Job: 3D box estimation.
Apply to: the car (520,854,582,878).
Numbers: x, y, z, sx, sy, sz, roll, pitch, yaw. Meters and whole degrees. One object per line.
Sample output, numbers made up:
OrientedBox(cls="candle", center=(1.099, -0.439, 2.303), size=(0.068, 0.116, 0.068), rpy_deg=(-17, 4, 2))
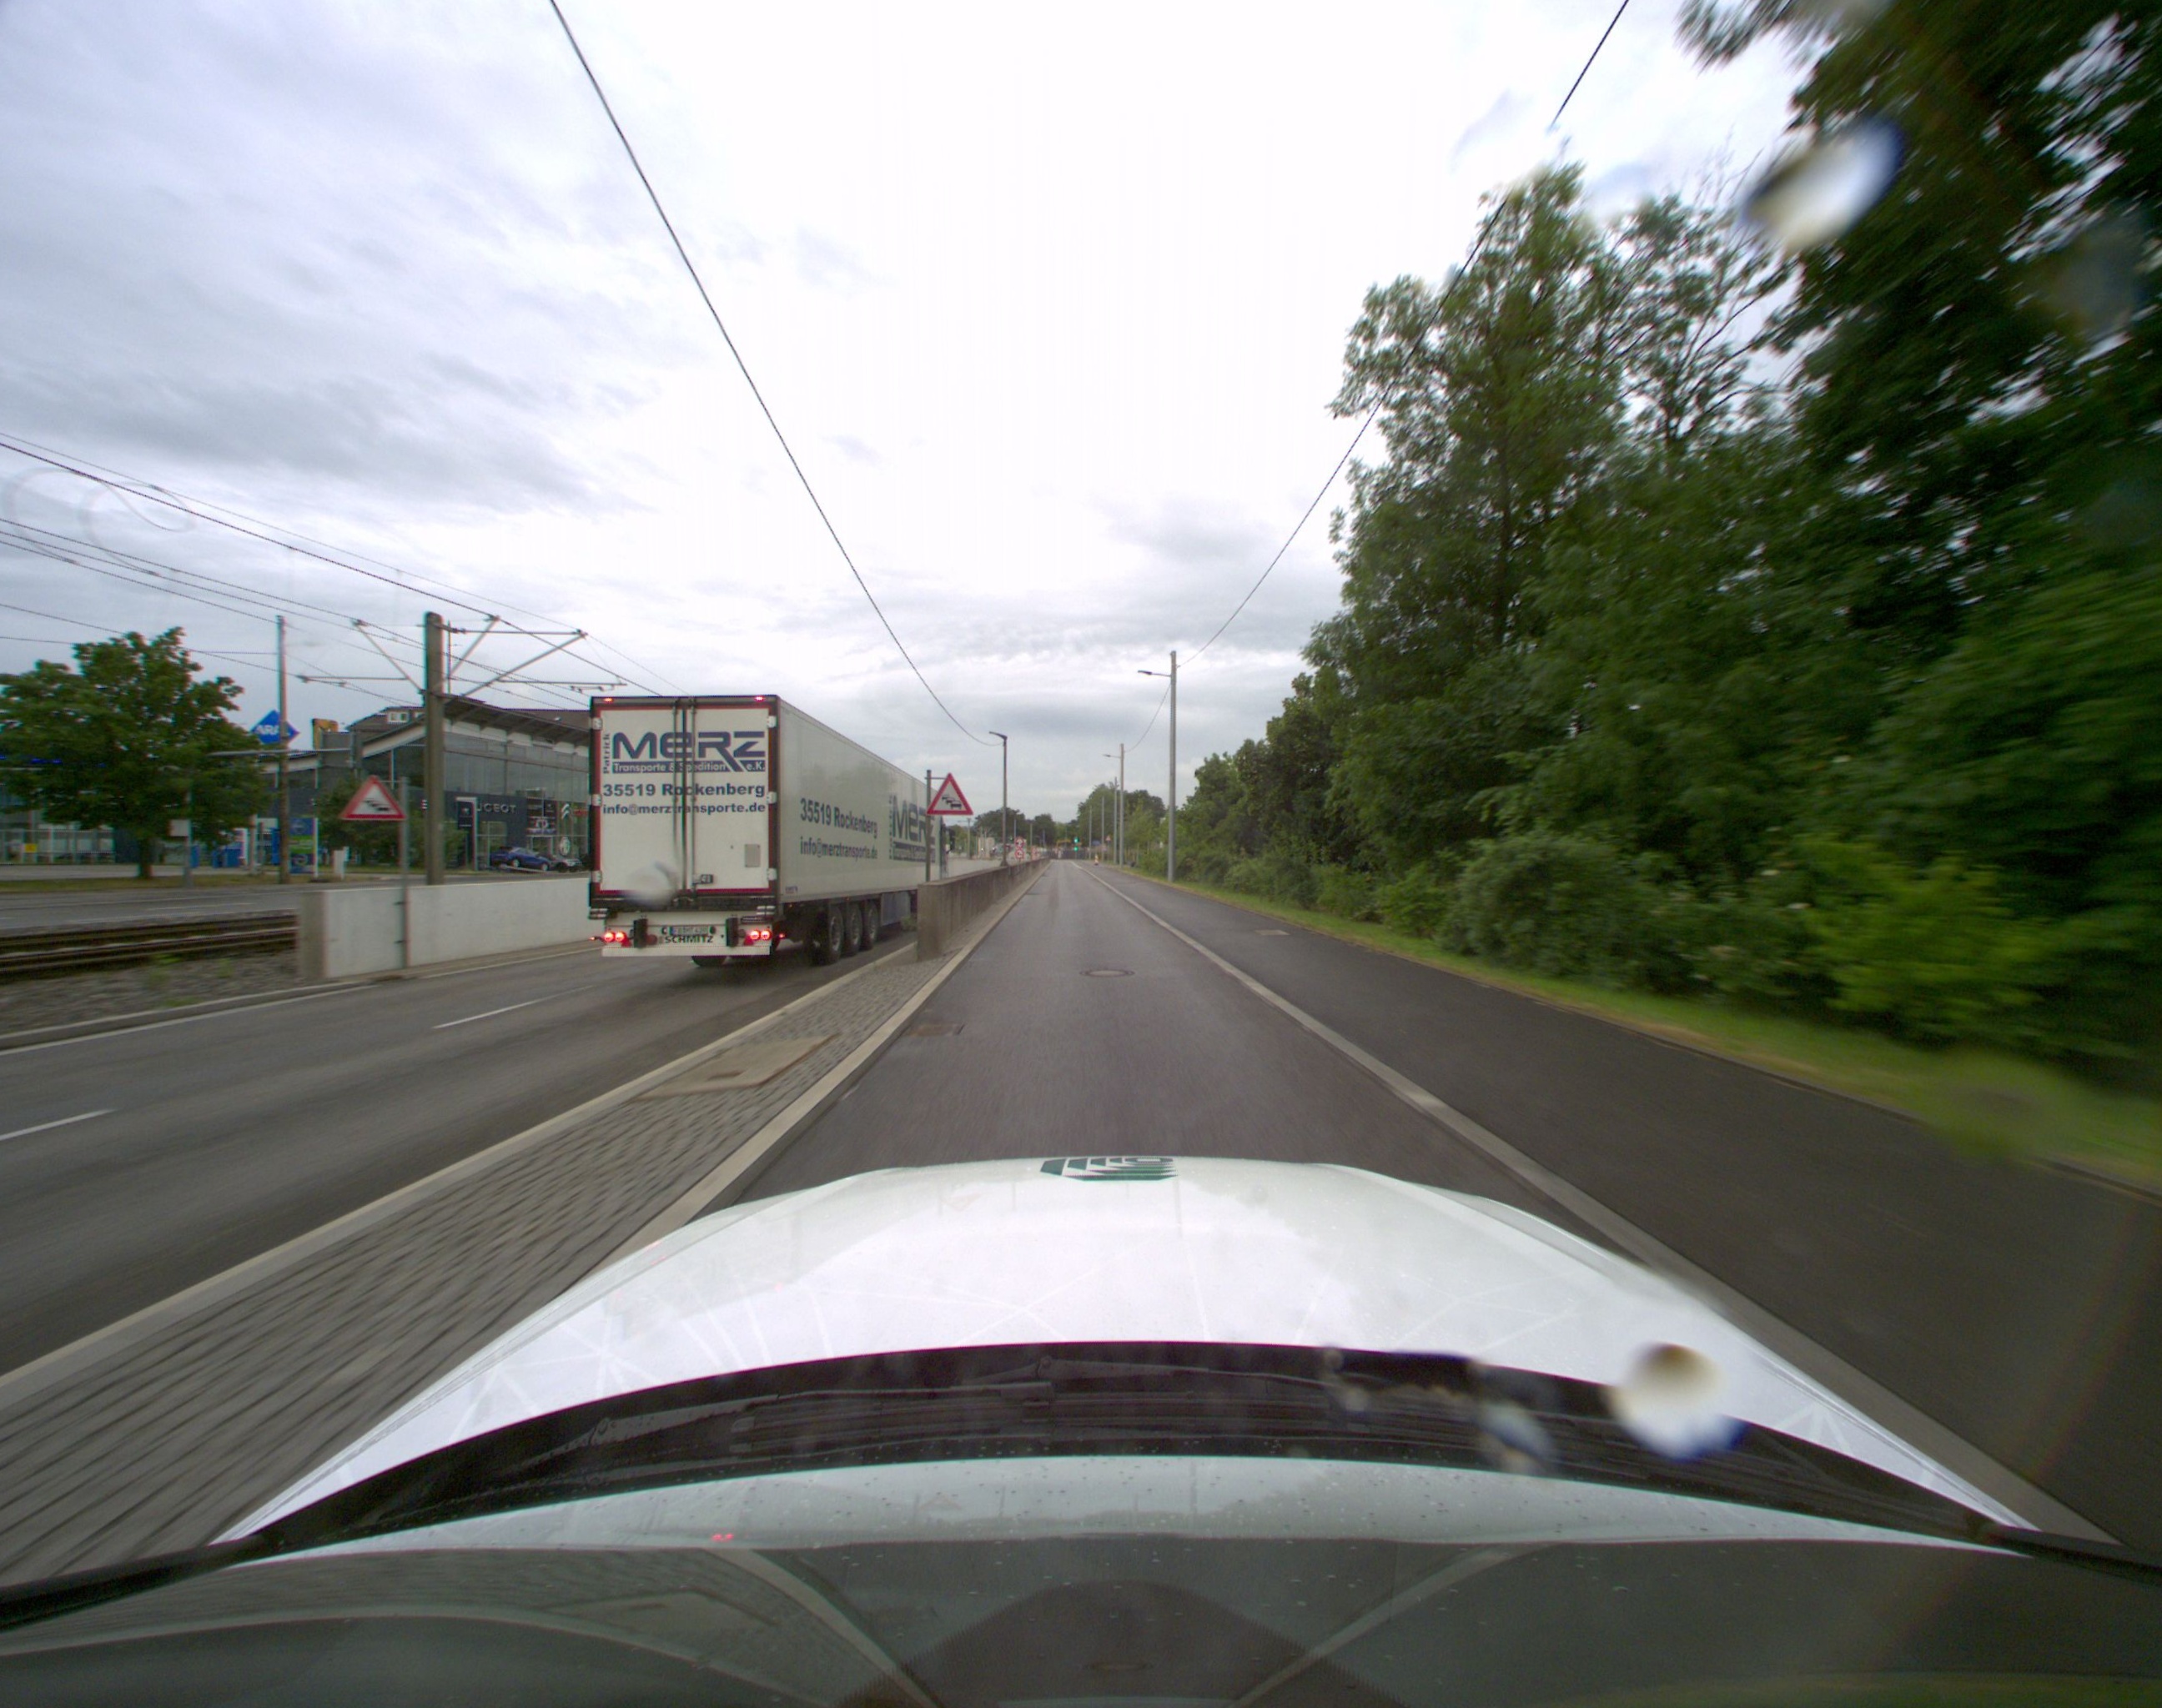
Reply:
OrientedBox(cls="car", center=(-40.389, 0.905, 62.066), size=(3.498, 1.402, 1.572), rpy_deg=(-5, 2, -5))

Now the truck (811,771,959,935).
OrientedBox(cls="truck", center=(-5.548, -0.042, 24.282), size=(2.747, 4.205, 6.306), rpy_deg=(-1, 0, 0))

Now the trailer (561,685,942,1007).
OrientedBox(cls="trailer", center=(-5.550, -0.146, 17.535), size=(2.753, 4.252, 13.181), rpy_deg=(-1, 0, 0))

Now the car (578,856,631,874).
OrientedBox(cls="car", center=(-40.900, 0.920, 69.920), size=(3.471, 1.474, 1.749), rpy_deg=(-1, 0, -2))

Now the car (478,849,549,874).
OrientedBox(cls="car", center=(-39.870, 0.546, 57.343), size=(1.753, 1.610, 4.073), rpy_deg=(0, -3, 6))

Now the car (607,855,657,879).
OrientedBox(cls="car", center=(-26.335, 0.744, 47.843), size=(1.377, 1.299, 2.800), rpy_deg=(0, 0, 0))

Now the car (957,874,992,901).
OrientedBox(cls="car", center=(-6.942, 2.154, 53.323), size=(1.805, 1.423, 3.998), rpy_deg=(-1, 2, -2))

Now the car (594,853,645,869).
OrientedBox(cls="car", center=(-41.050, 0.616, 72.501), size=(3.471, 1.397, 1.749), rpy_deg=(-1, 0, -2))
